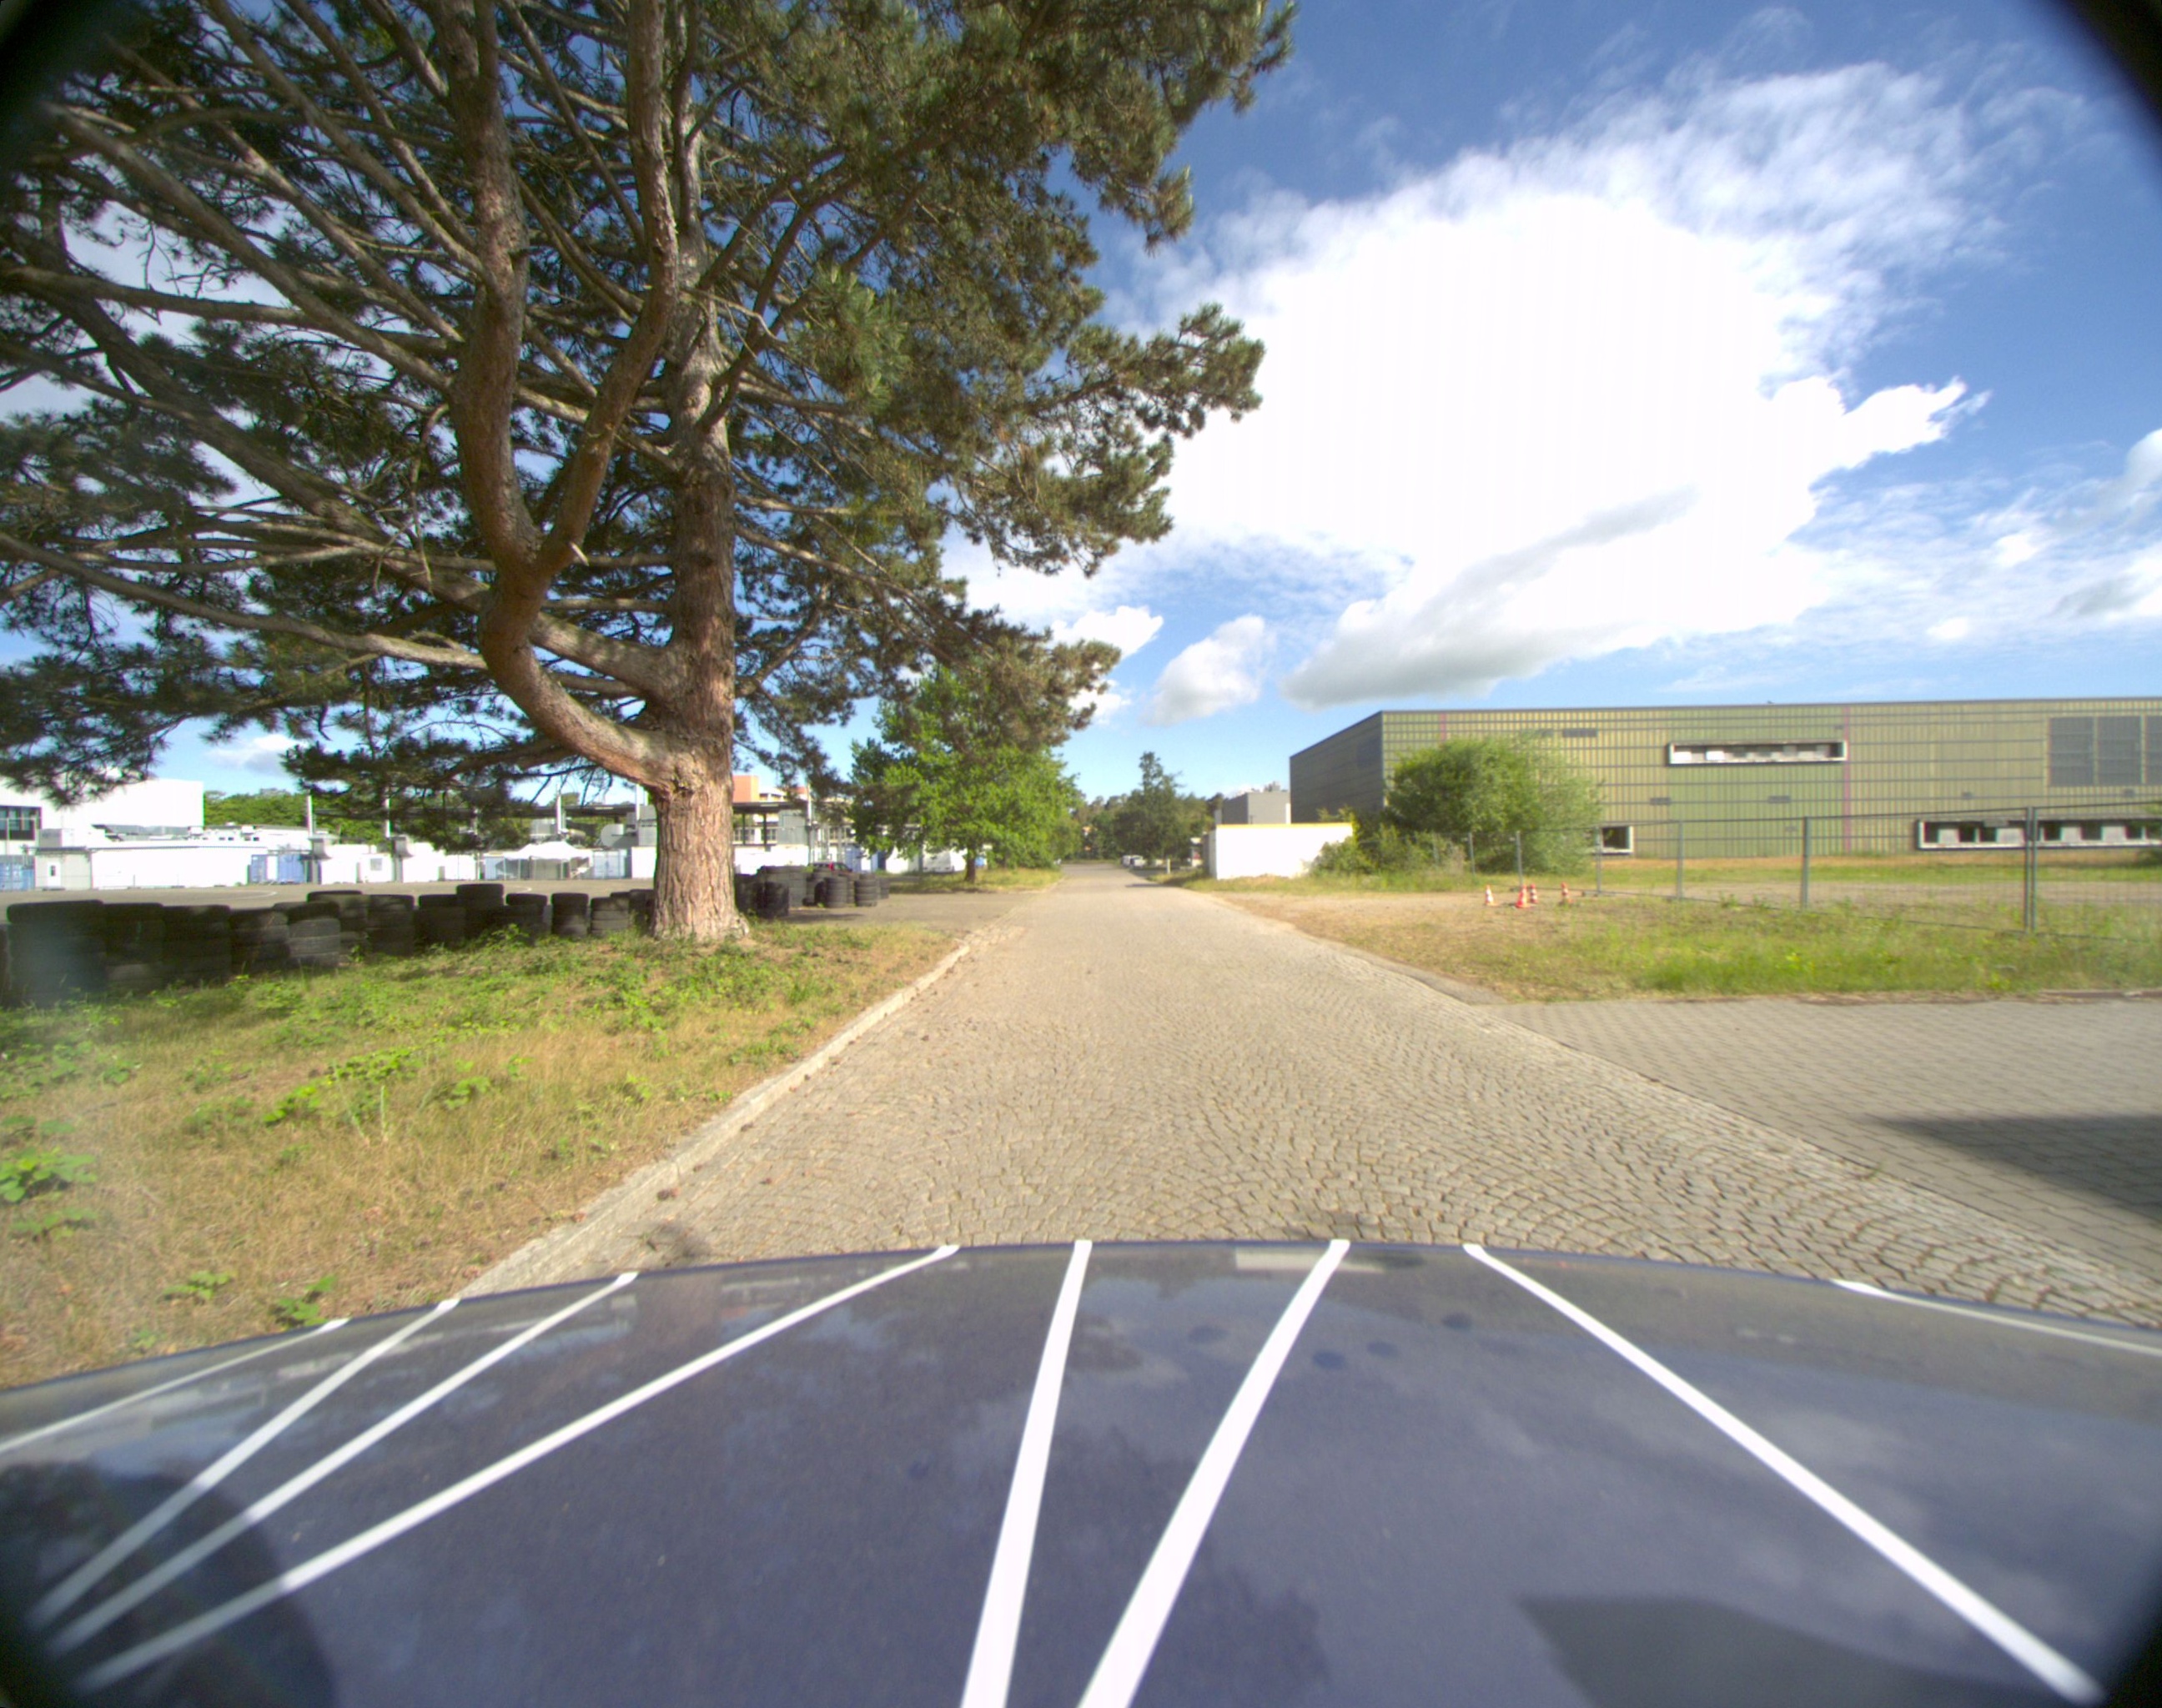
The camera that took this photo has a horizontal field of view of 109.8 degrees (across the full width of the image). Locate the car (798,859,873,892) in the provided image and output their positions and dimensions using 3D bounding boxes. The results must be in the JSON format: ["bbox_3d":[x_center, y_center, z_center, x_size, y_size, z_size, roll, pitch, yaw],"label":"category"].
[{"bbox_3d":[-11.639,1.003,36.311,1.846,1.440,4.002,-1,0,7],"label":"car"}]

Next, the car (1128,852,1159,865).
[{"bbox_3d":[8.280,0.652,101.239,3.996,1.678,2.000,-1,0,4],"label":"car"}]

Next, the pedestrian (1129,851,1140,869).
[{"bbox_3d":[5.375,0.618,76.603,0.908,1.797,0.983,-1,1,-6],"label":"pedestrian"}]
